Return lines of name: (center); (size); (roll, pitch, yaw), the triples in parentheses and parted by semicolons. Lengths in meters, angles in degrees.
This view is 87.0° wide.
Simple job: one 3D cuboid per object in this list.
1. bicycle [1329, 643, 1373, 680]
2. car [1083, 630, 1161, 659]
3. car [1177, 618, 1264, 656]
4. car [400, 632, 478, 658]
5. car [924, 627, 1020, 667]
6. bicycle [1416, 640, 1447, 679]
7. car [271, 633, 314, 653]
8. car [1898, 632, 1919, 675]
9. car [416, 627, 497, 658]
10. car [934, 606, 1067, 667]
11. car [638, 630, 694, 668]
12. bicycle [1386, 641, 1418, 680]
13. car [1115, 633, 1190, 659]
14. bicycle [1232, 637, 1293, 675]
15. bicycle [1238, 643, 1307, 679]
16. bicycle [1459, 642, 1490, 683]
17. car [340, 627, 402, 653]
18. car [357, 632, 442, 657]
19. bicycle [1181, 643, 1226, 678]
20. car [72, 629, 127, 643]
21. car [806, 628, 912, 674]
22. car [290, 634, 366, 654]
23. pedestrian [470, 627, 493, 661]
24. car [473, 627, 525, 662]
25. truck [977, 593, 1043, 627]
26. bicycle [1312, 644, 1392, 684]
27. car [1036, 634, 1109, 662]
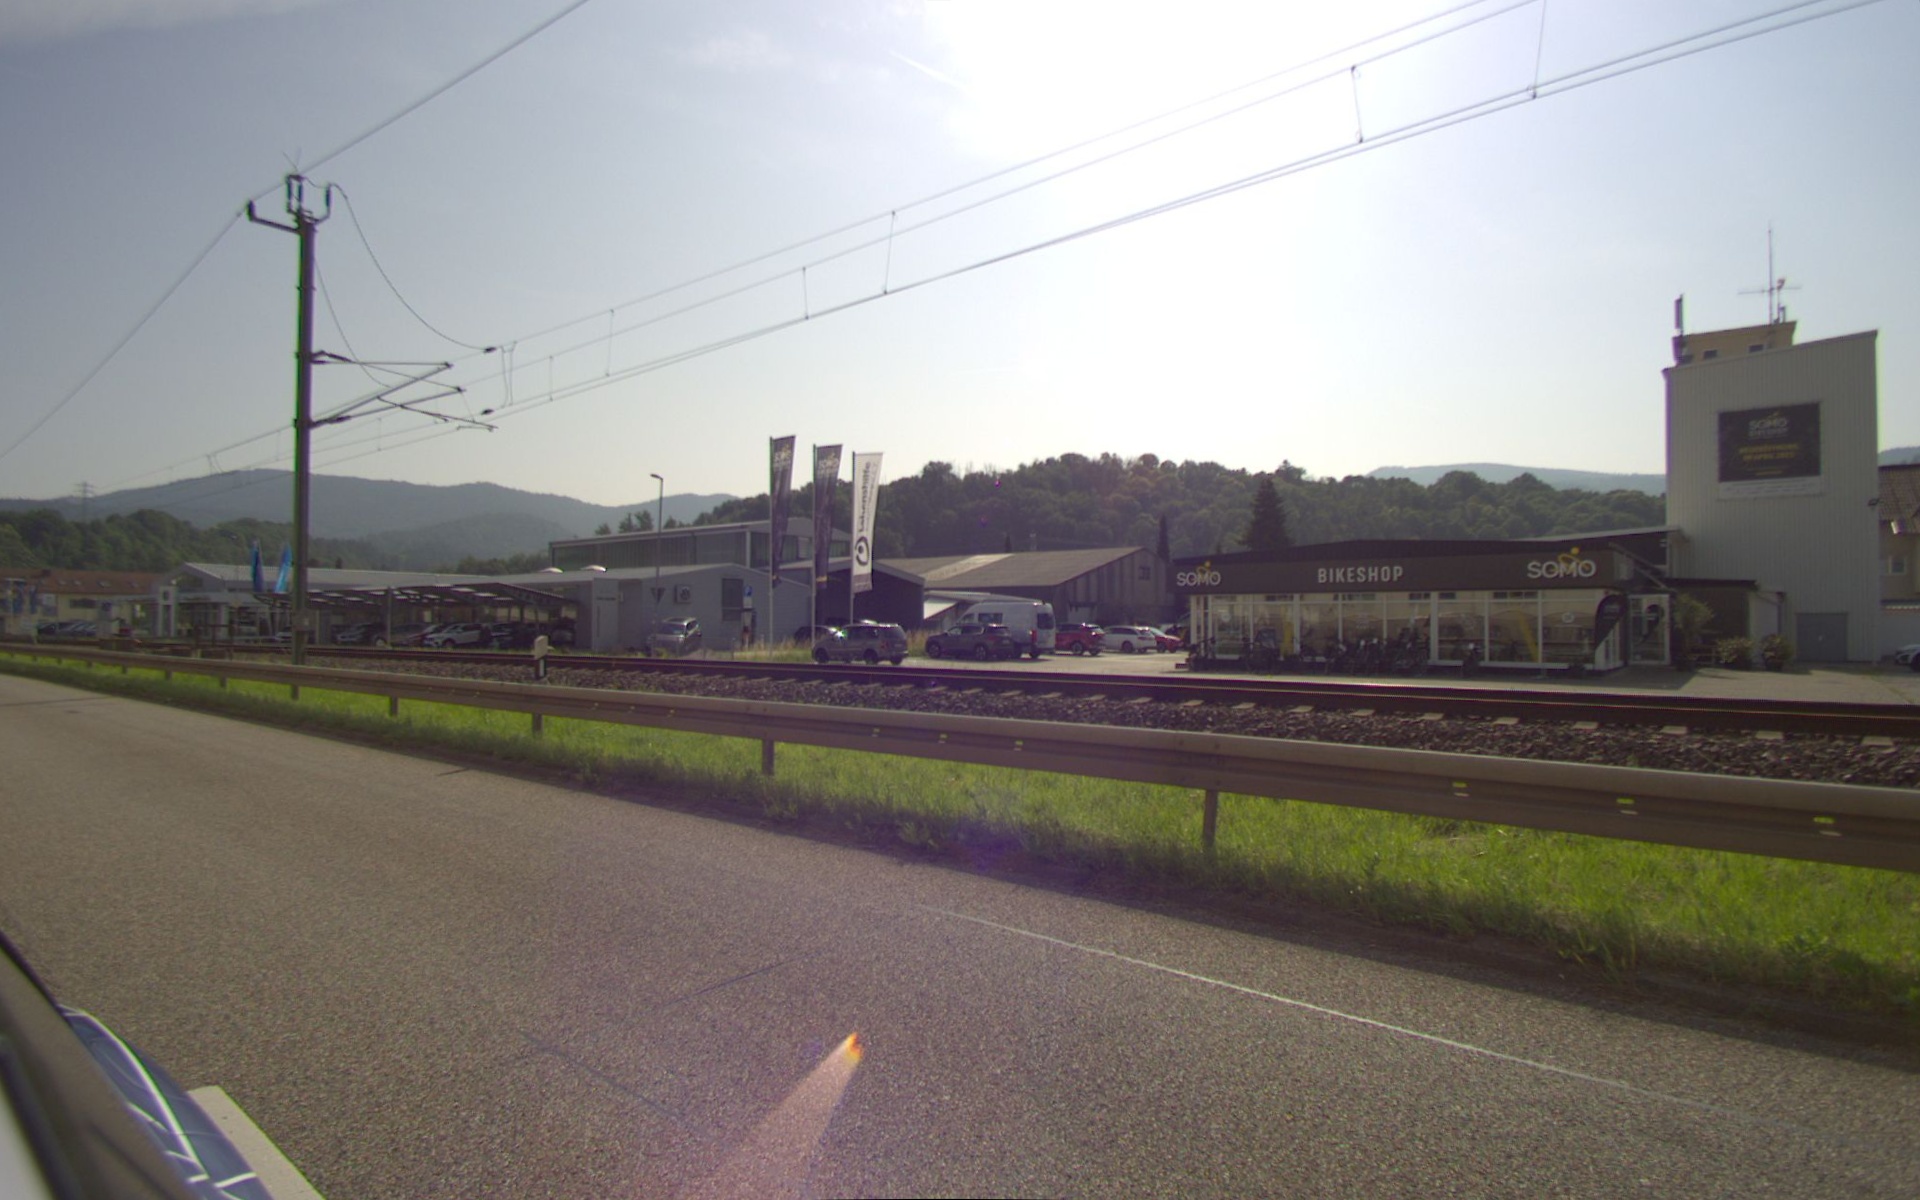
bicycle: (12.559, 1.950, 32.454); (0.729, 1.139, 2.146); (-1, -2, 38)
car: (8.985, 2.453, 56.268); (4.067, 1.553, 1.562); (-1, -2, 40)
car: (15.847, 2.202, 61.660); (4.759, 2.228, 1.973); (-1, -2, 40)
car: (-31.417, 2.677, 61.066); (1.499, 1.335, 3.921); (-1, 1, 36)
car: (0.528, 2.096, 45.958); (3.993, 1.676, 1.851); (0, -1, 36)
bicycle: (14.585, 1.812, 31.260); (0.727, 1.139, 2.153); (-1, -2, 29)
car: (-48.914, 3.152, 74.270); (1.815, 1.396, 4.538); (1, -2, -23)
car: (37.268, 1.971, 37.197); (3.979, 1.610, 1.693); (-2, -3, 42)
car: (-29.485, 2.473, 59.385); (1.660, 1.539, 3.921); (-1, 1, 36)
car: (1.905, 1.709, 48.771); (6.150, 2.653, 2.351); (1, -1, 37)
car: (-14.988, 2.463, 51.821); (1.503, 1.541, 3.997); (0, 3, 3)
bicycle: (13.791, 1.855, 31.557); (0.727, 1.139, 2.153); (-1, -2, 29)
car: (11.094, 2.637, 58.417); (4.067, 1.453, 1.562); (-1, -2, 40)
bicycle: (9.793, 1.796, 32.845); (0.718, 1.139, 2.329); (1, -2, -17)
bicycle: (10.658, 2.062, 34.547); (2.173, 1.139, 0.720); (-1, -2, 41)
bicycle: (15.019, 1.795, 29.512); (0.727, 1.139, 2.153); (-1, -2, 29)
car: (-39.829, 2.682, 68.525); (1.820, 1.539, 4.274); (-2, 1, -3)
car: (-35.425, 2.801, 63.992); (4.372, 1.517, 1.847); (0, -2, 0)
bicycle: (8.594, 2.111, 35.630); (0.729, 1.139, 2.146); (-1, -2, 38)
car: (-88.441, 3.718, 104.076); (1.853, 1.385, 3.959); (-1, -3, 30)
car: (-4.095, 2.015, 40.646); (4.362, 1.701, 1.505); (-1, 0, 36)
car: (-44.268, 3.058, 70.996); (4.145, 1.352, 1.849); (0, -2, -3)
pedestrian: (-25.014, 2.297, 52.905); (0.823, 1.747, 0.805); (0, -2, -4)
car: (-25.624, 2.444, 56.398); (1.636, 1.634, 4.040); (-2, 1, -10)
truck: (3.745, 0.712, 76.180); (4.633, 2.443, 1.976); (1, -1, 36)
bicycle: (11.981, 1.934, 30.987); (2.171, 1.139, 0.721); (-1, -2, 38)
car: (5.815, 2.466, 52.337); (3.518, 1.368, 1.499); (-1, -2, 40)
